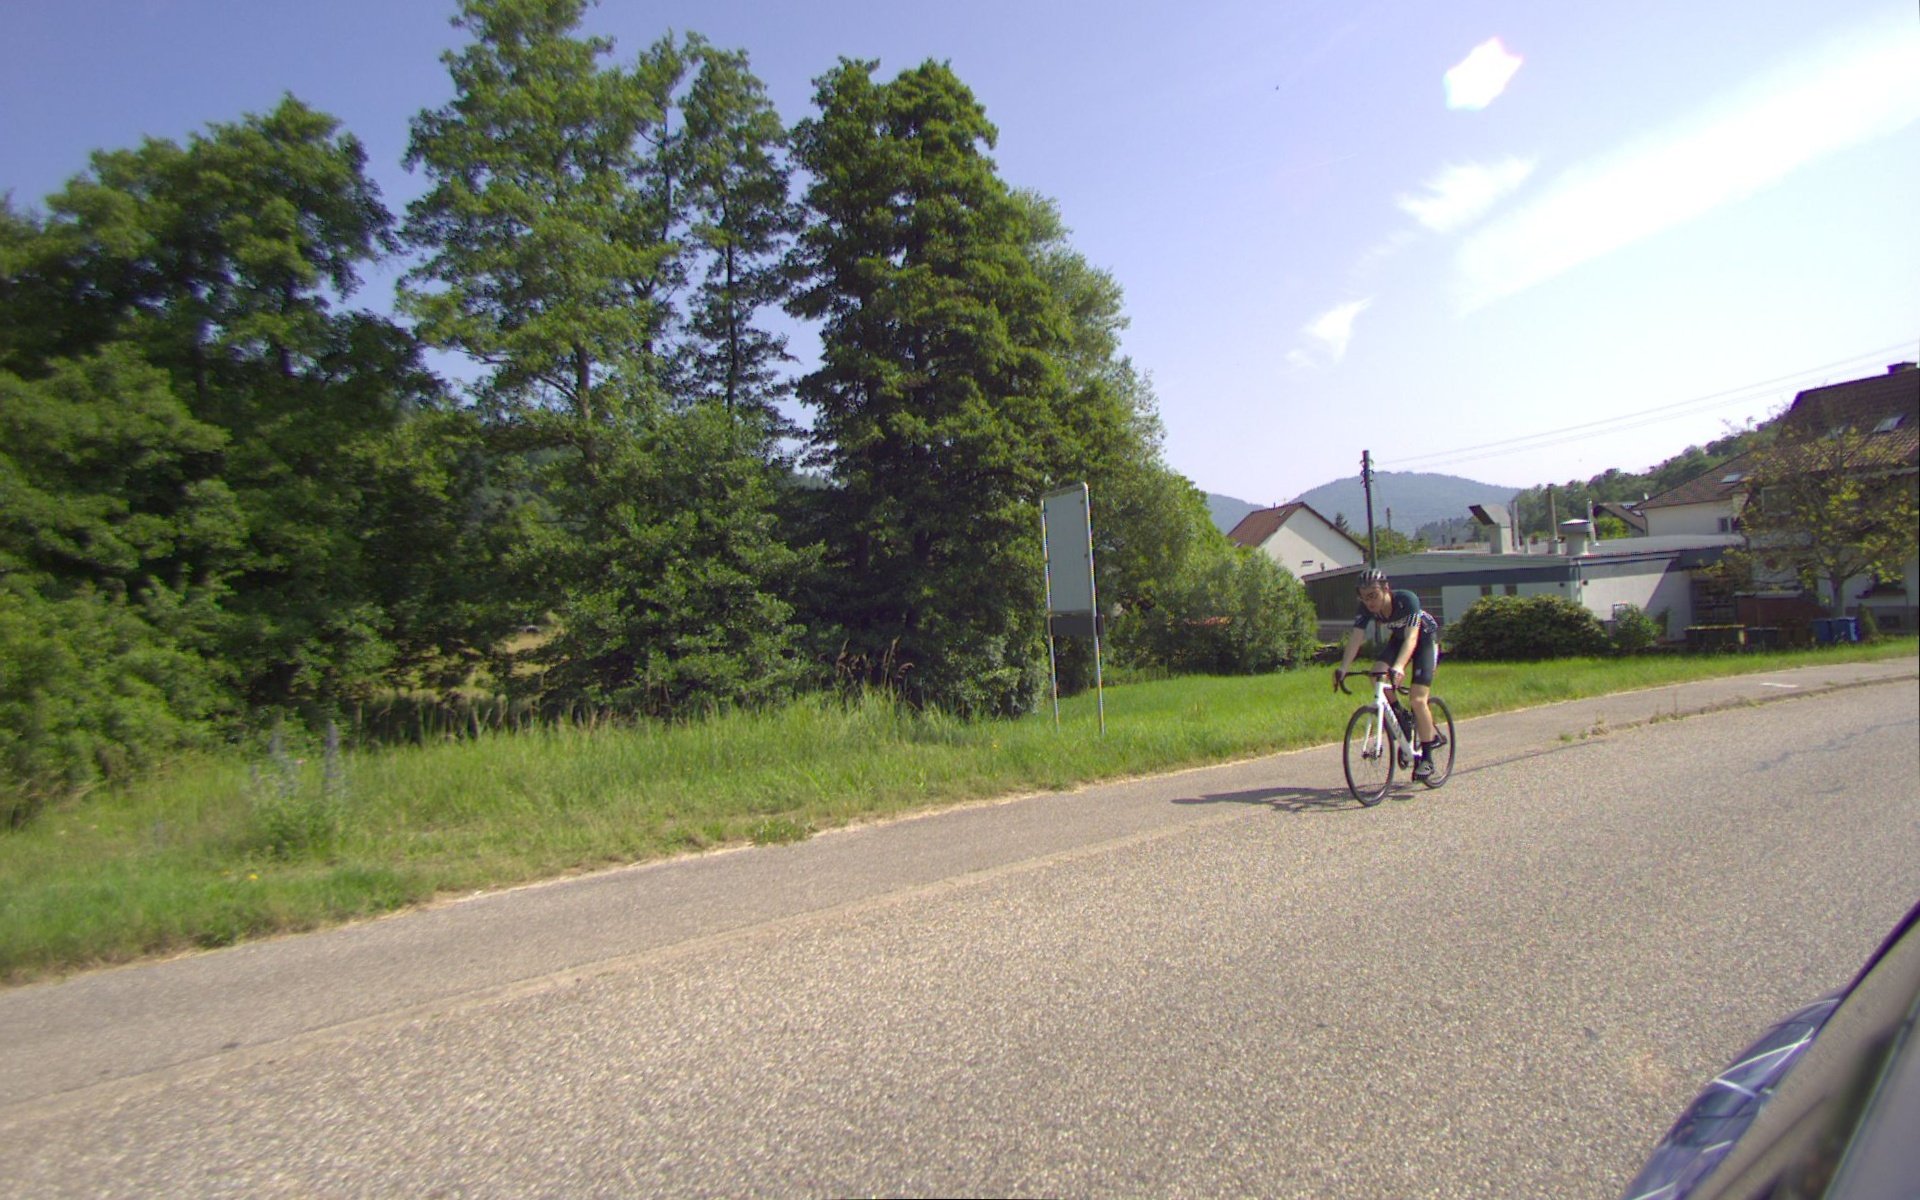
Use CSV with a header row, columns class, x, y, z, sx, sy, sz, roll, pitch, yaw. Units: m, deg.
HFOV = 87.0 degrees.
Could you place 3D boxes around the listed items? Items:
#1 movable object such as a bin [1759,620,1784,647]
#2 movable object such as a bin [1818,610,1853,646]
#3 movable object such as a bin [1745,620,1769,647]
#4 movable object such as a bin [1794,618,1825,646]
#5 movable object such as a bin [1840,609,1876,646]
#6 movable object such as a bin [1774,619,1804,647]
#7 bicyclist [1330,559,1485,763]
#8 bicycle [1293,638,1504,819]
class,x,y,z,sx,sy,sz,roll,pitch,yaw
movable object such as a bin,28.433,1.171,35.457,0.575,0.911,0.420,-3,-3,-30
movable object such as a bin,29.331,0.940,33.906,0.783,1.133,0.570,-3,-3,-30
movable object such as a bin,28.224,1.200,35.836,0.575,0.911,0.420,-3,-3,-30
movable object such as a bin,28.971,1.099,34.507,0.575,0.911,0.570,-3,-3,-30
movable object such as a bin,29.632,0.900,33.395,0.778,1.133,0.570,-3,-3,-30
movable object such as a bin,28.673,1.138,35.016,0.575,0.911,0.570,-3,-3,-30
bicyclist,3.234,0.391,7.298,1.125,1.359,0.581,-1,1,-40
bicycle,3.199,0.851,7.286,1.955,1.048,0.581,-1,1,-40
